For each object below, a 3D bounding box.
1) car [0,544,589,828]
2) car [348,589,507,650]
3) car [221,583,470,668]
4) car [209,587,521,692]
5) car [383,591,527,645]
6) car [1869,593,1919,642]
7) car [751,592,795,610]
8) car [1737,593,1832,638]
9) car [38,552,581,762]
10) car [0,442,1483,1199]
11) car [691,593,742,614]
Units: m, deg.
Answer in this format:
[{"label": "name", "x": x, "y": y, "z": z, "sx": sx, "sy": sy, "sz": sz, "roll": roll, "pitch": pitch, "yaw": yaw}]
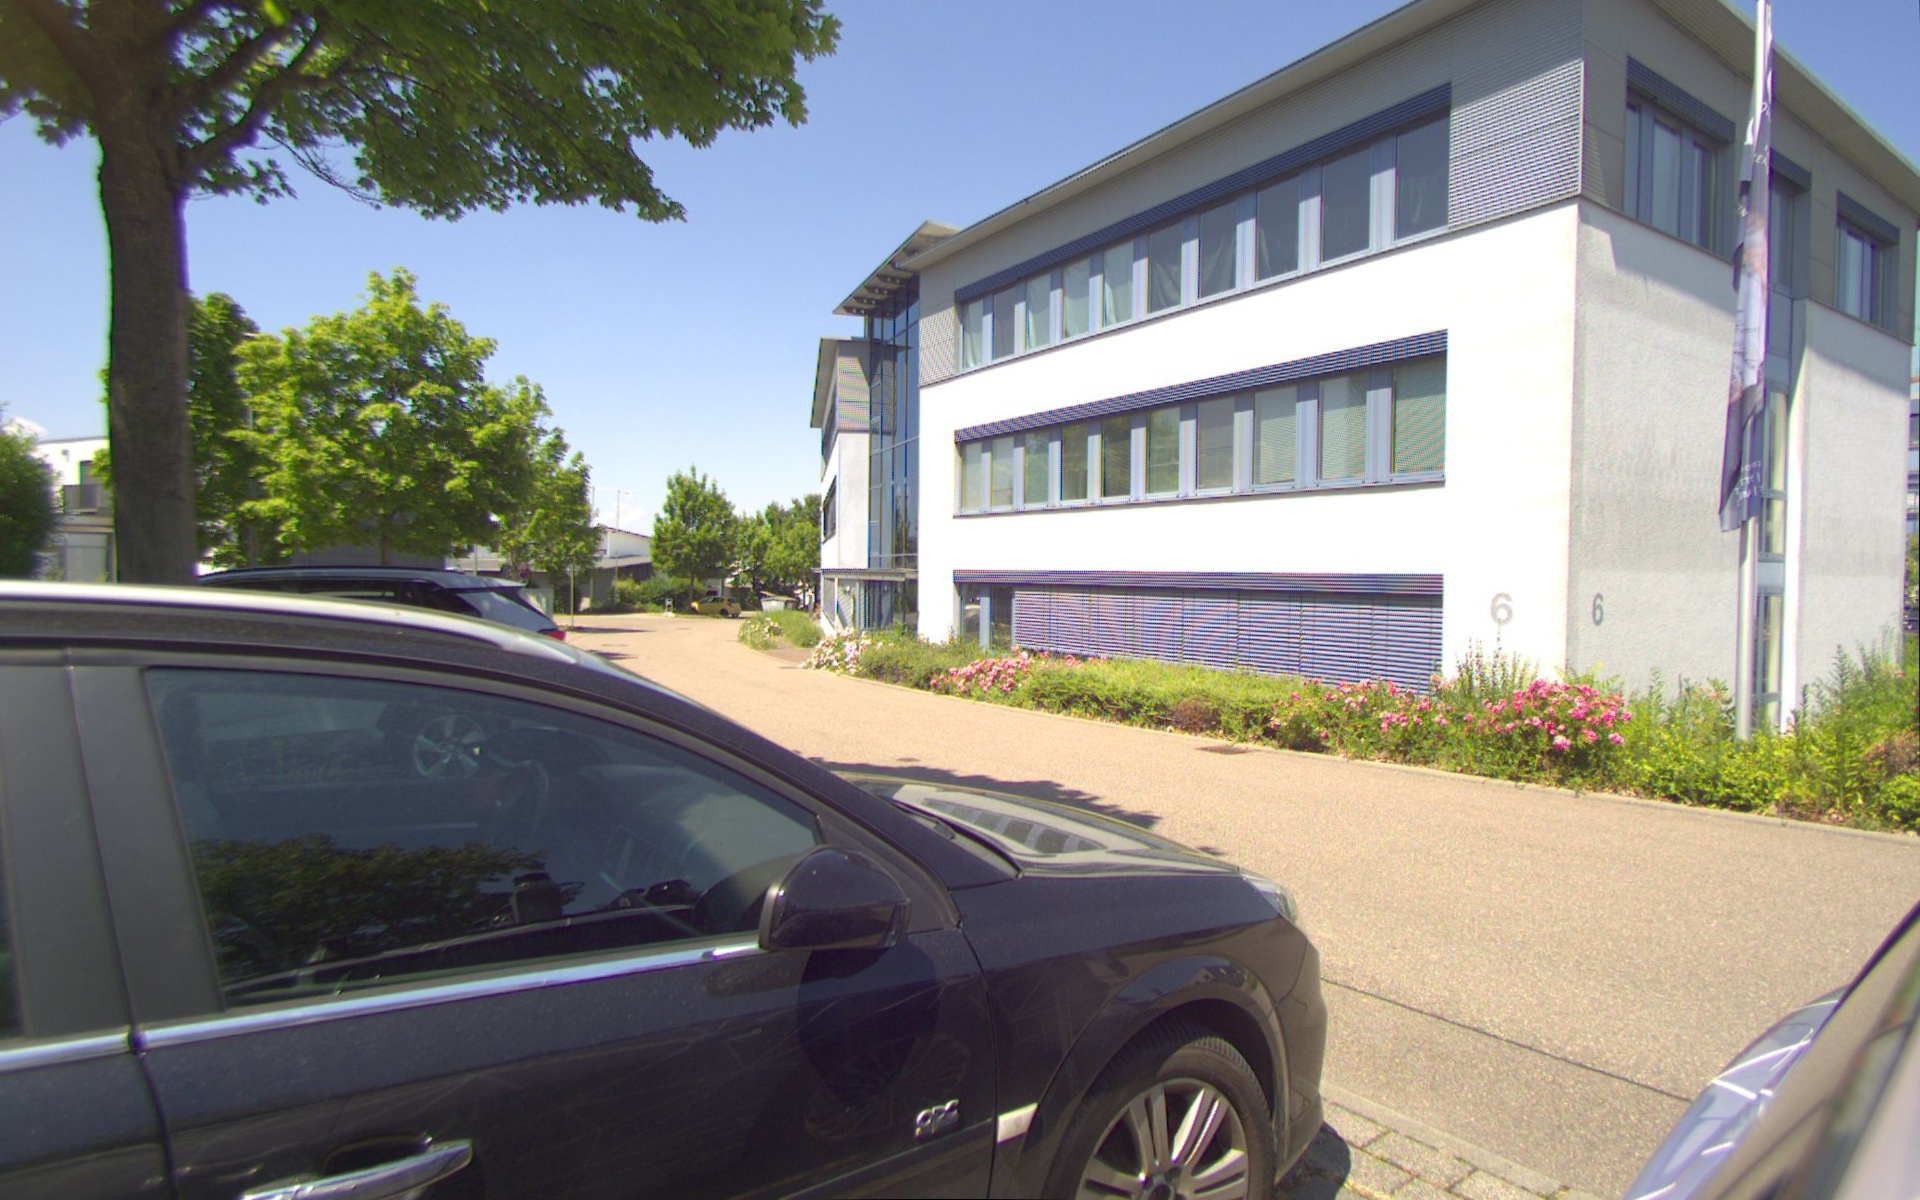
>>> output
[{"label": "car", "x": -5.156, "y": 0.520, "z": 7.385, "sx": 4.249, "sy": 1.664, "sz": 1.857, "roll": 1, "pitch": -1, "yaw": -35}, {"label": "car", "x": -14.214, "y": 0.517, "z": 27.204, "sx": 3.514, "sy": 1.545, "sz": 1.639, "roll": 1, "pitch": -1, "yaw": -17}, {"label": "car", "x": -12.392, "y": 0.517, "z": 20.717, "sx": 4.090, "sy": 1.625, "sz": 1.664, "roll": 1, "pitch": -1, "yaw": -21}, {"label": "car", "x": -9.342, "y": 0.602, "z": 16.247, "sx": 4.092, "sy": 1.505, "sz": 1.663, "roll": 1, "pitch": -1, "yaw": -27}, {"label": "car", "x": -14.656, "y": 0.524, "z": 29.554, "sx": 3.514, "sy": 1.461, "sz": 1.639, "roll": 1, "pitch": -1, "yaw": -17}, {"label": "car", "x": 32.716, "y": 0.558, "z": 34.515, "sx": 3.925, "sy": 1.565, "sz": 1.788, "roll": -1, "pitch": 0, "yaw": -36}, {"label": "car", "x": -15.230, "y": 0.060, "z": 82.371, "sx": 3.172, "sy": 1.460, "sz": 1.580, "roll": 0, "pitch": 0, "yaw": 18}, {"label": "car", "x": 30.613, "y": 0.538, "z": 37.544, "sx": 3.925, "sy": 1.565, "sz": 1.788, "roll": -1, "pitch": 0, "yaw": -36}, {"label": "car", "x": -6.060, "y": 0.485, "z": 9.891, "sx": 4.122, "sy": 1.664, "sz": 1.661, "roll": 1, "pitch": -1, "yaw": -35}, {"label": "car", "x": -1.025, "y": 0.637, "z": 1.858, "sx": 4.480, "sy": 1.569, "sz": 1.763, "roll": 0, "pitch": 0, "yaw": -37}, {"label": "car", "x": -17.102, "y": 0.225, "z": 71.174, "sx": 3.172, "sy": 1.460, "sz": 1.580, "roll": 0, "pitch": 0, "yaw": 18}]
